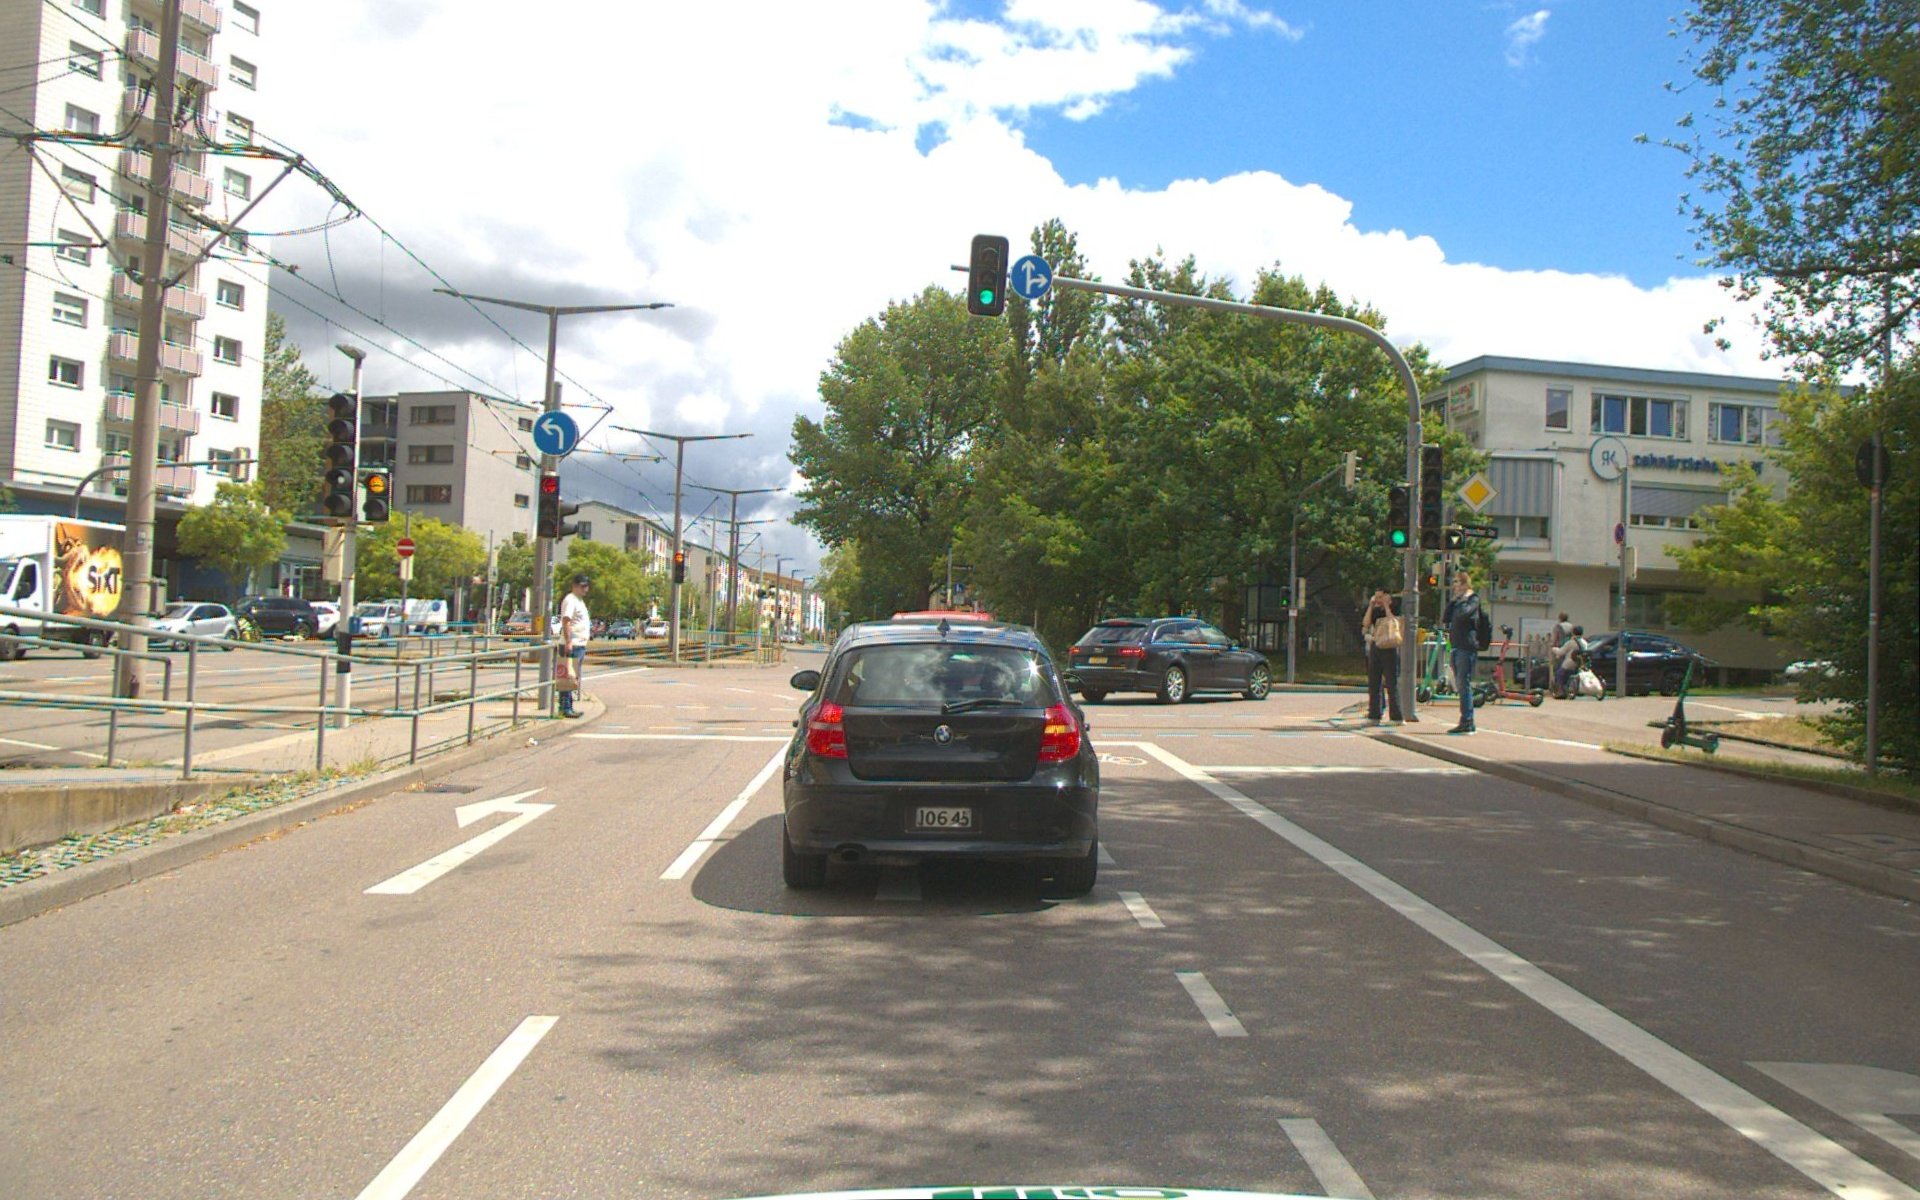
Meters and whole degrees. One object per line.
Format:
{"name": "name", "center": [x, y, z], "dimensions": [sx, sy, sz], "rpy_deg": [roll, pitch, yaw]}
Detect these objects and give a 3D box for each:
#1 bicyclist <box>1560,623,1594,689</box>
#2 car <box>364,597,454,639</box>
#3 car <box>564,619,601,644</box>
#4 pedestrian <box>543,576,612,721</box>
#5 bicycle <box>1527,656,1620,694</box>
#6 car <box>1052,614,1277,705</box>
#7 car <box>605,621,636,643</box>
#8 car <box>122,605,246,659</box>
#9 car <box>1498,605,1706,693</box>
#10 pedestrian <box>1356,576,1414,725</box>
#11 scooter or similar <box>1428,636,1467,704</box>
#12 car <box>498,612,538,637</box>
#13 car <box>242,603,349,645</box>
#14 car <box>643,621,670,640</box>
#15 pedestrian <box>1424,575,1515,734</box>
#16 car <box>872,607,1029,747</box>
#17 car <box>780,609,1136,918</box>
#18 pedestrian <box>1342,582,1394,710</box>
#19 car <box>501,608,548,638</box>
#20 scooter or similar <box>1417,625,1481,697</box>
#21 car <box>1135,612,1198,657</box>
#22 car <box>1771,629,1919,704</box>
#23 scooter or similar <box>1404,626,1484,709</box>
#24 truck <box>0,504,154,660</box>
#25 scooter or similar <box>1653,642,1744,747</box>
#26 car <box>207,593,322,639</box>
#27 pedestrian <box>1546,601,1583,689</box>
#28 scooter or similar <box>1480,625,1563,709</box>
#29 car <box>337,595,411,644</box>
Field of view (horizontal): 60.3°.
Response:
{"name": "bicyclist", "center": [11.285, 1.017, 30.240], "dimensions": [0.498, 1.177, 0.393], "rpy_deg": [1, -1, -42]}
{"name": "car", "center": [-27.260, 0.876, 81.901], "dimensions": [3.892, 2.009, 1.631], "rpy_deg": [1, 0, -43]}
{"name": "car", "center": [-24.822, 2.043, 108.796], "dimensions": [1.618, 1.561, 3.870], "rpy_deg": [1, -1, -2]}
{"name": "pedestrian", "center": [-4.752, 0.598, 20.586], "dimensions": [0.673, 1.764, 0.687], "rpy_deg": [1, -1, -1]}
{"name": "bicycle", "center": [11.230, 1.364, 30.309], "dimensions": [0.529, 0.620, 1.568], "rpy_deg": [1, 0, -39]}
{"name": "car", "center": [3.702, 1.006, 29.281], "dimensions": [1.870, 1.447, 4.516], "rpy_deg": [1, 0, 39]}
{"name": "car", "center": [-25.958, 2.437, 126.456], "dimensions": [1.618, 1.561, 3.870], "rpy_deg": [1, -1, -2]}
{"name": "car", "center": [-22.991, 0.934, 49.126], "dimensions": [1.377, 1.486, 3.778], "rpy_deg": [1, 0, 10]}
{"name": "car", "center": [16.081, 1.219, 41.528], "dimensions": [4.450, 2.049, 1.996], "rpy_deg": [2, -1, -8]}
{"name": "pedestrian", "center": [5.564, 0.651, 21.670], "dimensions": [0.622, 1.909, 0.518], "rpy_deg": [1, 0, 5]}
{"name": "scooter or similar", "center": [8.235, 1.168, 27.950], "dimensions": [0.536, 1.082, 1.263], "rpy_deg": [1, 0, 13]}
{"name": "car", "center": [-27.966, 1.527, 104.646], "dimensions": [1.559, 1.500, 3.773], "rpy_deg": [2, 0, -2]}
{"name": "car", "center": [-28.251, 1.024, 70.363], "dimensions": [1.628, 1.676, 3.897], "rpy_deg": [1, 0, 44]}
{"name": "car", "center": [-25.824, 2.594, 140.861], "dimensions": [1.618, 1.561, 3.870], "rpy_deg": [1, -1, -2]}
{"name": "pedestrian", "center": [6.344, 0.664, 20.641], "dimensions": [0.779, 1.909, 1.013], "rpy_deg": [1, 0, -1]}
{"name": "car", "center": [-0.113, 0.809, 18.925], "dimensions": [1.605, 1.424, 3.419], "rpy_deg": [1, 0, -1]}
{"name": "car", "center": [-0.022, 0.788, 9.585], "dimensions": [1.665, 1.424, 3.419], "rpy_deg": [1, 0, -1]}
{"name": "pedestrian", "center": [5.832, 0.656, 23.679], "dimensions": [0.622, 1.797, 0.518], "rpy_deg": [1, 0, 5]}
{"name": "car", "center": [-23.936, 1.260, 91.008], "dimensions": [1.618, 1.561, 3.870], "rpy_deg": [1, -1, -2]}
{"name": "scooter or similar", "center": [8.213, 1.022, 27.802], "dimensions": [0.922, 1.177, 0.459], "rpy_deg": [1, 0, 2]}
{"name": "car", "center": [9.049, 1.494, 72.829], "dimensions": [1.694, 1.904, 3.991], "rpy_deg": [2, -1, -9]}
{"name": "car", "center": [23.584, 1.720, 42.834], "dimensions": [4.291, 1.795, 1.996], "rpy_deg": [2, -1, -10]}
{"name": "scooter or similar", "center": [7.580, 1.044, 25.932], "dimensions": [1.087, 1.257, 0.540], "rpy_deg": [1, 0, 2]}
{"name": "truck", "center": [-20.890, -0.387, 37.277], "dimensions": [2.236, 3.172, 7.311], "rpy_deg": [2, 0, -4]}
{"name": "scooter or similar", "center": [9.633, 1.229, 21.589], "dimensions": [0.872, 1.251, 0.454], "rpy_deg": [6, -1, -1]}
{"name": "car", "center": [-27.267, 0.651, 64.892], "dimensions": [3.951, 1.716, 1.558], "rpy_deg": [1, 0, -34]}
{"name": "pedestrian", "center": [12.263, 0.903, 33.550], "dimensions": [0.644, 1.743, 0.461], "rpy_deg": [1, 0, 26]}
{"name": "scooter or similar", "center": [9.101, 1.076, 26.829], "dimensions": [1.127, 1.294, 0.555], "rpy_deg": [2, 0, 2]}
{"name": "car", "center": [-22.590, 0.758, 63.909], "dimensions": [1.559, 1.787, 3.773], "rpy_deg": [2, 0, -2]}
